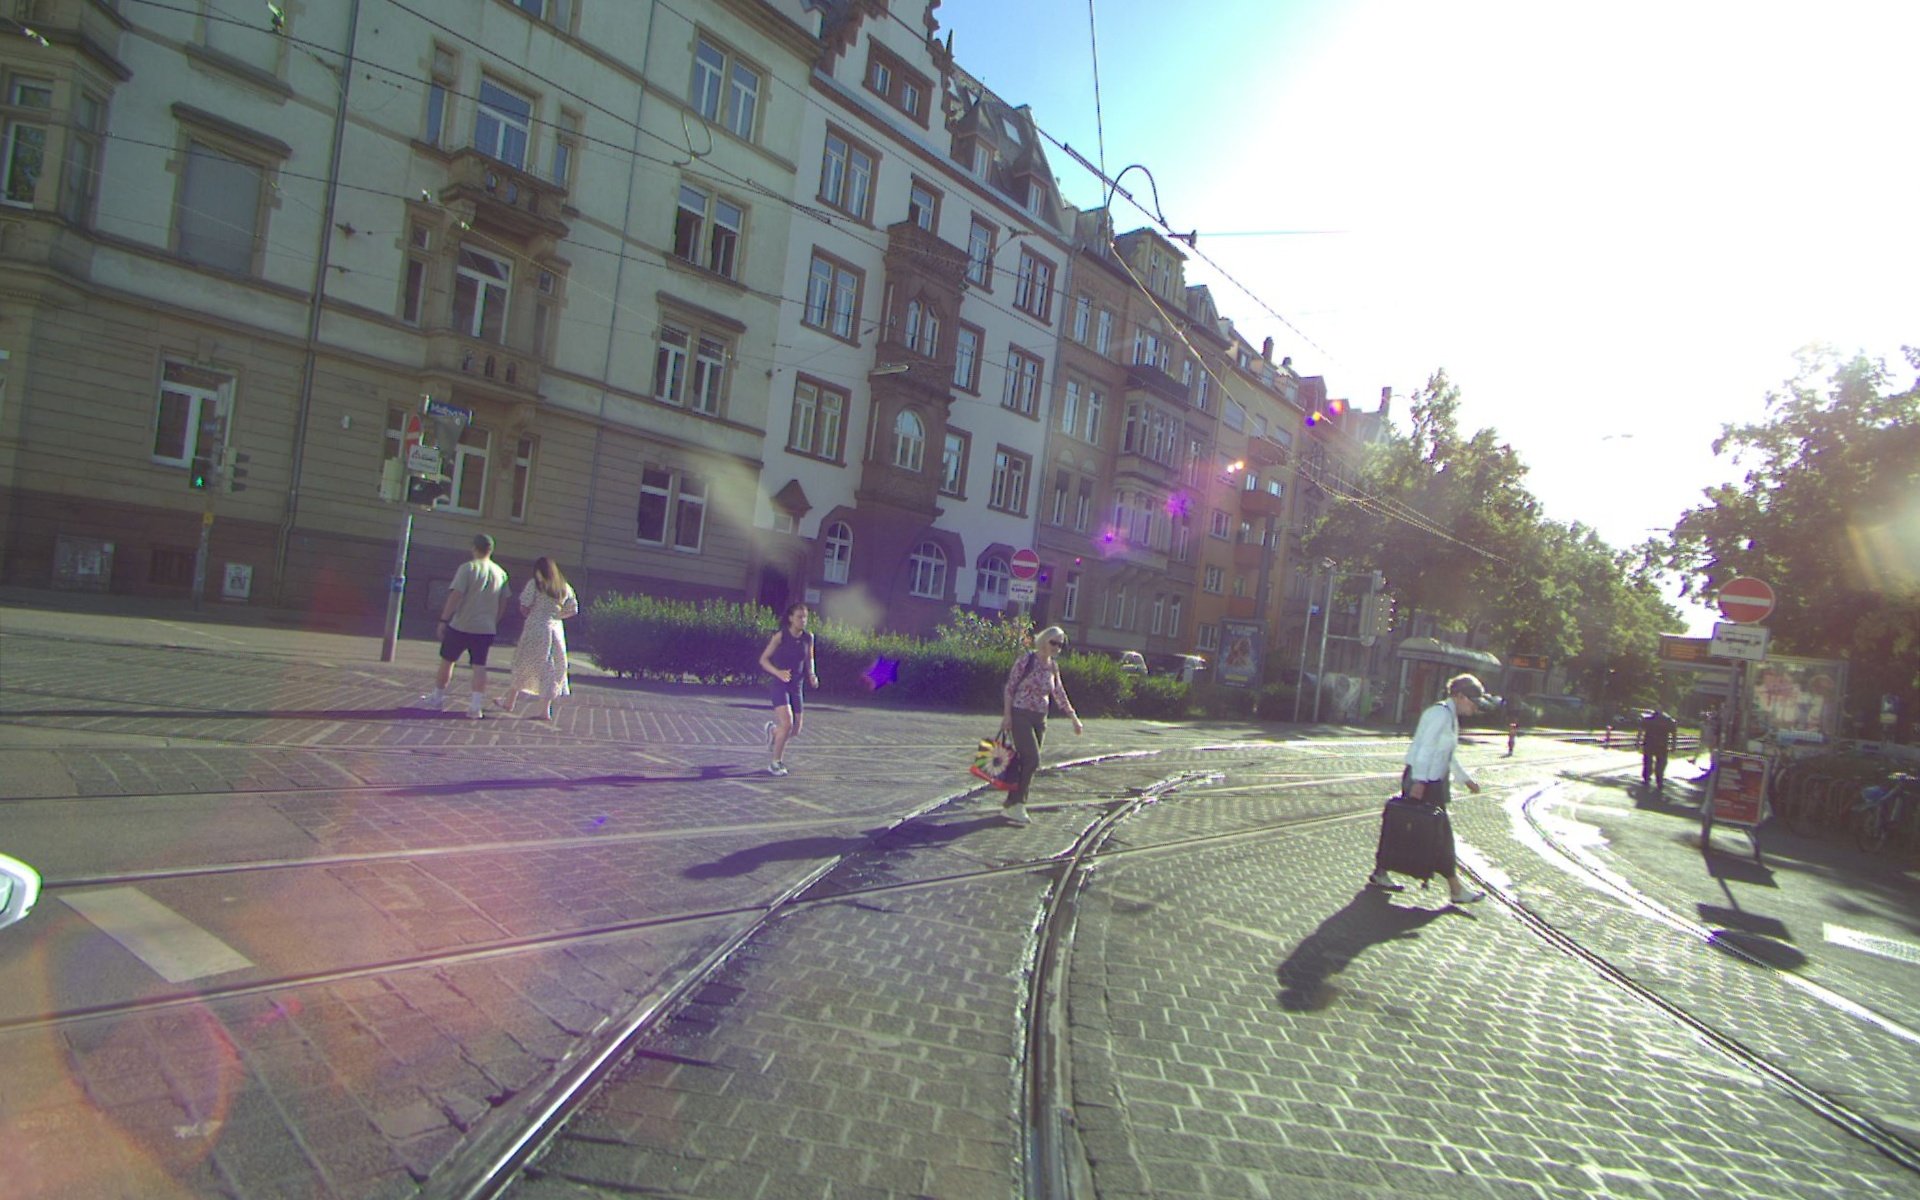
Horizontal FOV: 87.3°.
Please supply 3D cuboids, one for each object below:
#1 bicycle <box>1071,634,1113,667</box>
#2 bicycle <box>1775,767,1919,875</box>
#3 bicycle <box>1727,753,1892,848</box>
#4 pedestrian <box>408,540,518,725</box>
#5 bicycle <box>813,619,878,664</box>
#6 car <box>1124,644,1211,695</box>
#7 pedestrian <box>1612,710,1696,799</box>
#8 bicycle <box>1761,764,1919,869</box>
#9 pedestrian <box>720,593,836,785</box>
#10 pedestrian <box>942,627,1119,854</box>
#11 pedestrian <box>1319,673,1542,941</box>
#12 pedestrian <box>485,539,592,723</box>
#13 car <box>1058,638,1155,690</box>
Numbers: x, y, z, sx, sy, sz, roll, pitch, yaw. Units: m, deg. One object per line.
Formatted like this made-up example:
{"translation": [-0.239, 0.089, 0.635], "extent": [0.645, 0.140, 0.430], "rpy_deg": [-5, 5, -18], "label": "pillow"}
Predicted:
{"translation": [5.752, 2.192, 43.701], "extent": [0.518, 1.187, 2.185], "rpy_deg": [9, -1, 41], "label": "bicycle"}
{"translation": [13.550, 3.311, 14.948], "extent": [2.002, 1.224, 0.651], "rpy_deg": [8, 0, 19], "label": "bicycle"}
{"translation": [14.638, 3.436, 17.377], "extent": [2.002, 1.142, 0.651], "rpy_deg": [10, 1, 8], "label": "bicycle"}
{"translation": [-4.818, 0.306, 9.748], "extent": [0.696, 1.674, 0.626], "rpy_deg": [8, 0, -34], "label": "pedestrian"}
{"translation": [-3.704, 1.364, 32.785], "extent": [0.518, 1.187, 2.185], "rpy_deg": [9, -1, 41], "label": "bicycle"}
{"translation": [8.899, 2.993, 42.988], "extent": [1.866, 1.586, 3.989], "rpy_deg": [11, 0, 39], "label": "car"}
{"translation": [14.593, 3.227, 21.194], "extent": [1.002, 1.651, 1.010], "rpy_deg": [8, 0, 17], "label": "pedestrian"}
{"translation": [14.012, 3.393, 15.790], "extent": [2.002, 1.142, 0.651], "rpy_deg": [10, 1, 19], "label": "bicycle"}
{"translation": [-1.652, 0.772, 9.019], "extent": [0.627, 1.556, 0.936], "rpy_deg": [8, 0, -24], "label": "pedestrian"}
{"translation": [0.556, 1.124, 8.239], "extent": [0.914, 1.651, 0.936], "rpy_deg": [8, 0, -24], "label": "pedestrian"}
{"translation": [3.407, 1.448, 7.302], "extent": [0.919, 1.651, 0.997], "rpy_deg": [8, 0, -41], "label": "pedestrian"}
{"translation": [-4.345, 0.309, 10.366], "extent": [0.640, 1.764, 0.699], "rpy_deg": [10, -2, -34], "label": "pedestrian"}
{"translation": [5.794, 2.545, 39.451], "extent": [1.866, 1.414, 3.989], "rpy_deg": [11, -1, 39], "label": "car"}
